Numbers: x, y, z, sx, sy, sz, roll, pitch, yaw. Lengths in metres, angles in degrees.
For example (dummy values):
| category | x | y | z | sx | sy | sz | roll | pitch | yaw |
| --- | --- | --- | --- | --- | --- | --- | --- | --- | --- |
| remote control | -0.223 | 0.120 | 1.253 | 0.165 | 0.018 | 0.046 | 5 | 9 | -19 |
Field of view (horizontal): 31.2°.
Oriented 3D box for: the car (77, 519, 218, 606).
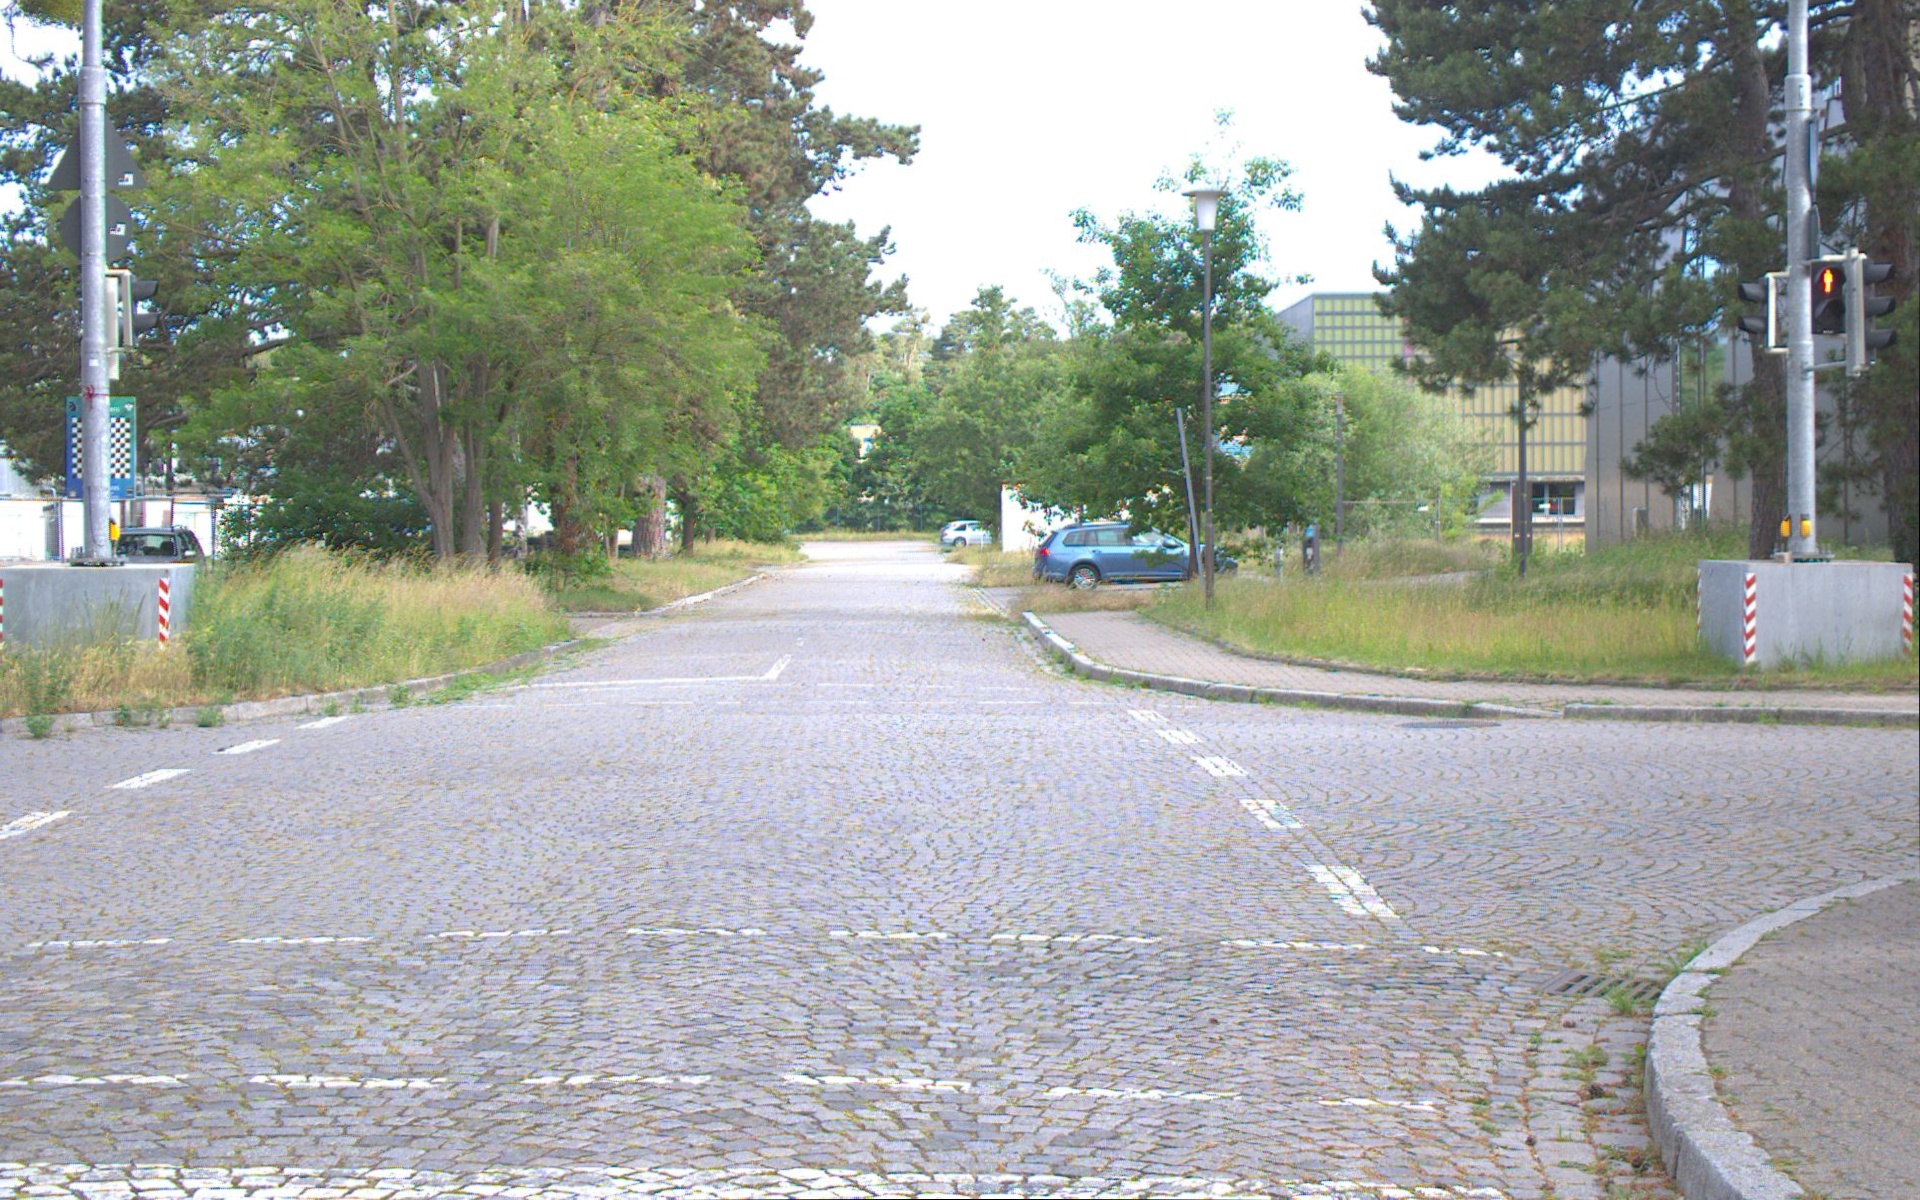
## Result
| category | x | y | z | sx | sy | sz | roll | pitch | yaw |
| --- | --- | --- | --- | --- | --- | --- | --- | --- | --- |
| car | -14.407 | -0.687 | 61.168 | 1.613 | 1.482 | 4.000 | 0 | 1 | -1 |

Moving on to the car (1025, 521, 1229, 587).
| category | x | y | z | sx | sy | sz | roll | pitch | yaw |
| --- | --- | --- | --- | --- | --- | --- | --- | --- | --- |
| car | 3.683 | -1.028 | 76.248 | 4.343 | 1.417 | 2.000 | 0 | 2 | -3 |

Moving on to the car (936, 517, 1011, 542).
| category | x | y | z | sx | sy | sz | roll | pitch | yaw |
| --- | --- | --- | --- | --- | --- | --- | --- | --- | --- |
| car | 0.733 | -3.971 | 193.283 | 3.986 | 1.393 | 2.001 | -1 | 2 | -6 |
